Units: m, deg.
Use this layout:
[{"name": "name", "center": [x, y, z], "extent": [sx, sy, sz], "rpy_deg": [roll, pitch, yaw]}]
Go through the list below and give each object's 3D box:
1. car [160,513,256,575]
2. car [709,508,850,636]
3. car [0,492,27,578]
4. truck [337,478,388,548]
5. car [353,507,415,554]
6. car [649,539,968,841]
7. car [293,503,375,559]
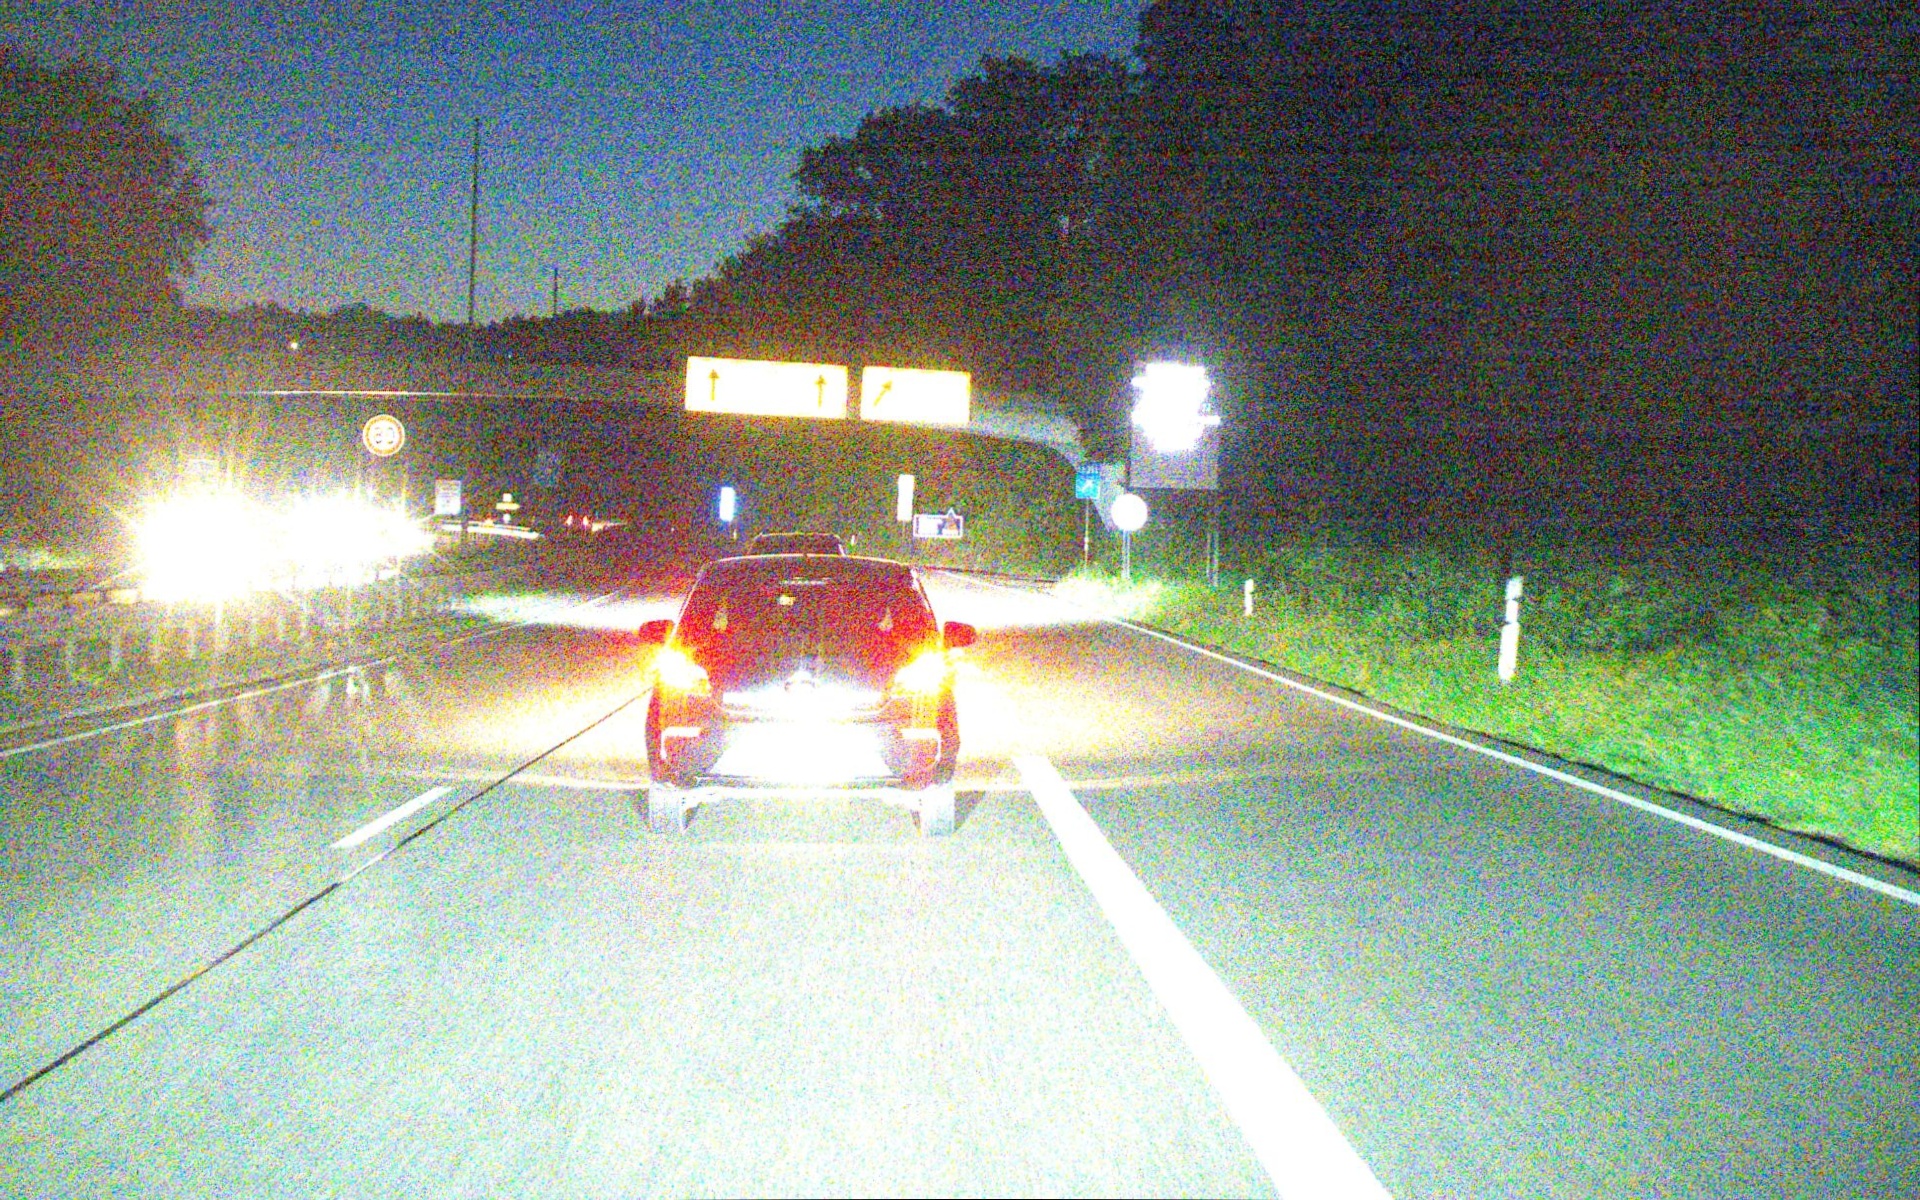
[{"name": "car", "center": [-19.504, -1.471, 89.316], "extent": [1.728, 1.512, 4.159], "rpy_deg": [2, 1, -3]}, {"name": "car", "center": [-2.623, -0.445, 50.622], "extent": [1.906, 1.692, 4.001], "rpy_deg": [3, 1, -2]}, {"name": "car", "center": [-17.814, -1.214, 60.259], "extent": [1.861, 1.510, 4.000], "rpy_deg": [4, 1, -2]}, {"name": "truck", "center": [-38.394, -5.581, 220.825], "extent": [2.625, 4.218, 8.598], "rpy_deg": [4, 1, -12]}, {"name": "car", "center": [-25.903, -3.145, 154.729], "extent": [2.361, 2.007, 5.034], "rpy_deg": [2, 1, -6]}, {"name": "car", "center": [-0.869, 0.416, 19.217], "extent": [1.588, 1.503, 4.001], "rpy_deg": [0, 1, -3]}, {"name": "car", "center": [-20.682, -2.287, 113.684], "extent": [1.967, 1.757, 5.033], "rpy_deg": [2, 1, -3]}]
